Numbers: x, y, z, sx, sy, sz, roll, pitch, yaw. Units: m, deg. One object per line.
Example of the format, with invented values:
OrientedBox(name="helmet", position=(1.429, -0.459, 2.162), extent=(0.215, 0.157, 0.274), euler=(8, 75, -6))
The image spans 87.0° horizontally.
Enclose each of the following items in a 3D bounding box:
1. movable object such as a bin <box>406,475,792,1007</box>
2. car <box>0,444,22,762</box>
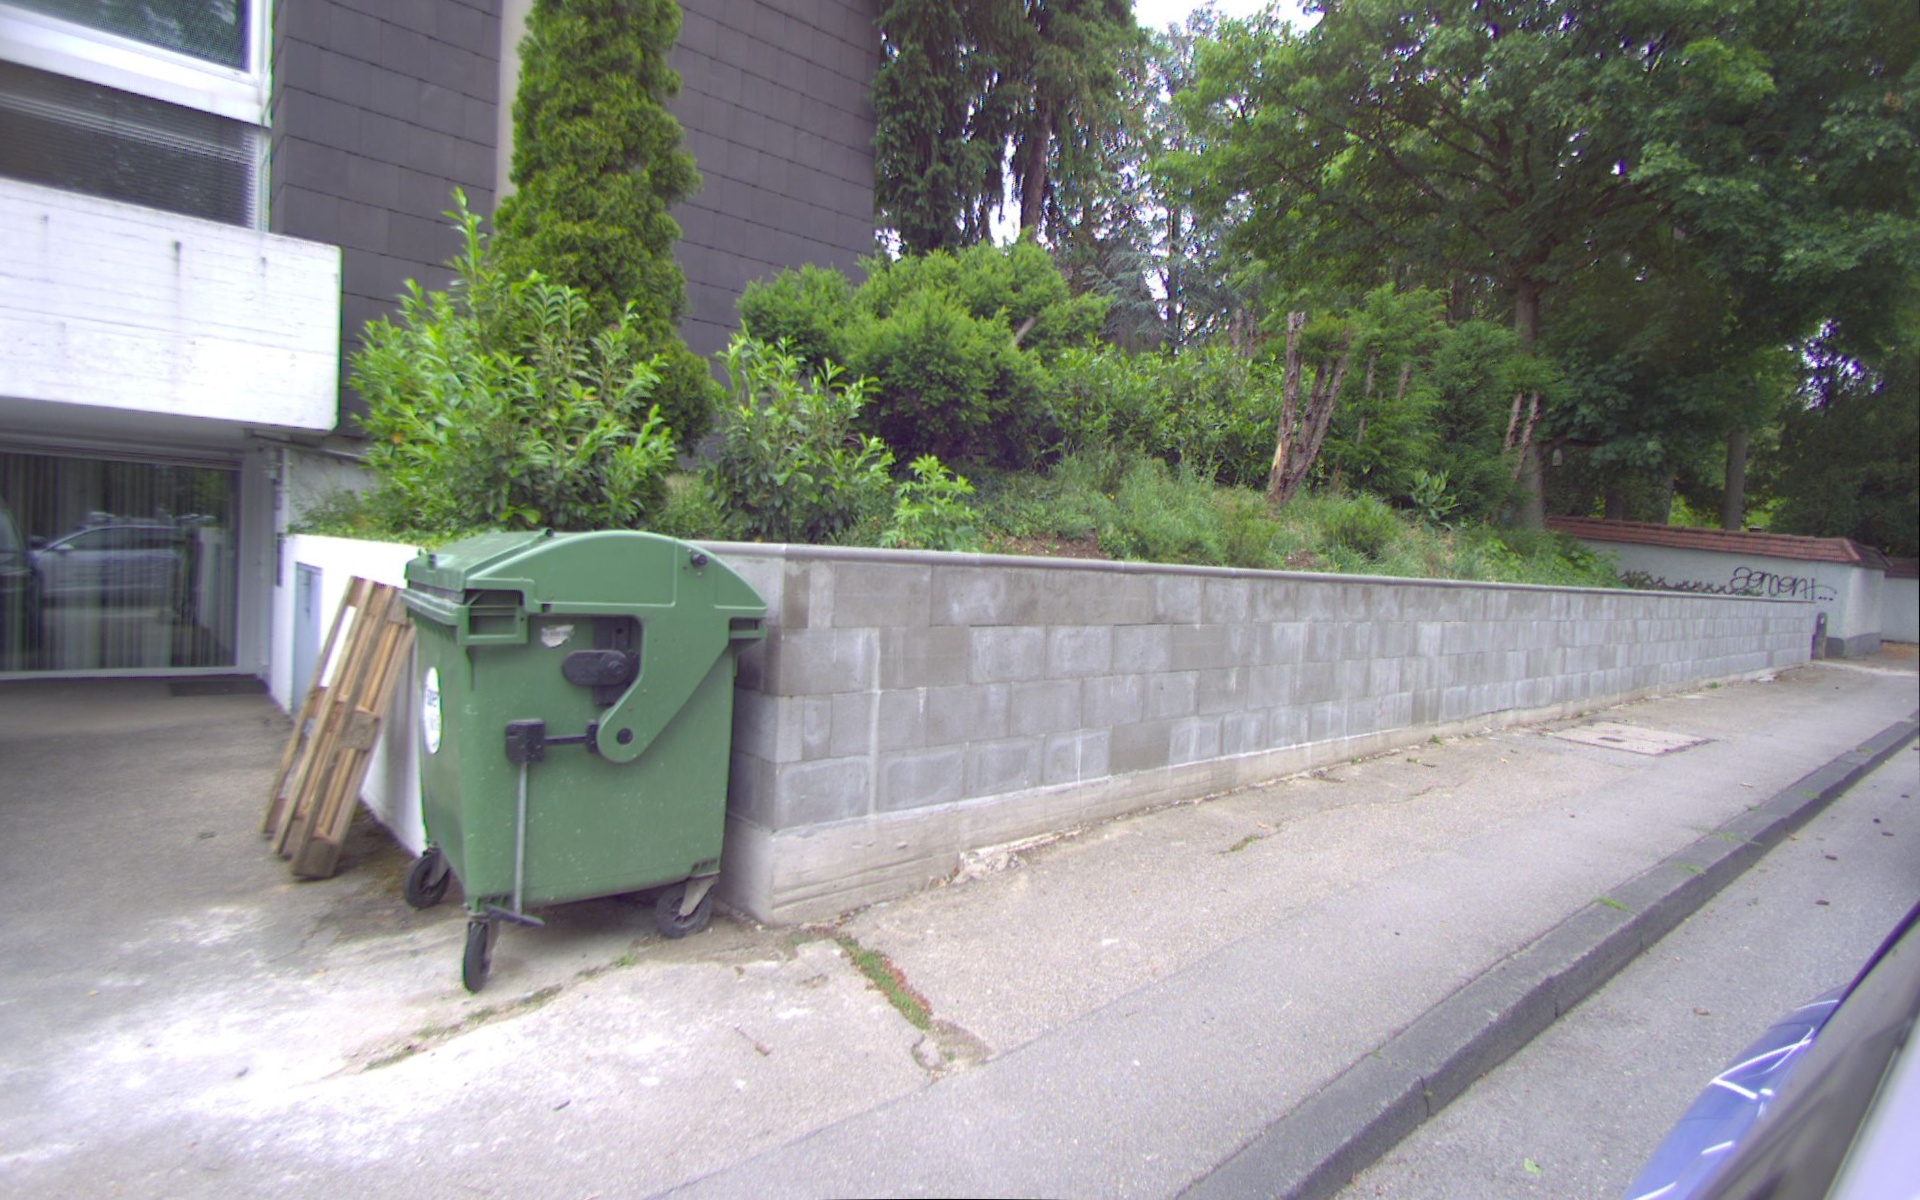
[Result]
OrientedBox(name="movable object such as a bin", position=(-1.327, 0.386, 3.660), extent=(1.014, 1.549, 1.037), euler=(0, 2, -39))
OrientedBox(name="car", position=(-5.333, 0.085, 4.092), extent=(1.798, 1.771, 3.987), euler=(0, 3, -36))
